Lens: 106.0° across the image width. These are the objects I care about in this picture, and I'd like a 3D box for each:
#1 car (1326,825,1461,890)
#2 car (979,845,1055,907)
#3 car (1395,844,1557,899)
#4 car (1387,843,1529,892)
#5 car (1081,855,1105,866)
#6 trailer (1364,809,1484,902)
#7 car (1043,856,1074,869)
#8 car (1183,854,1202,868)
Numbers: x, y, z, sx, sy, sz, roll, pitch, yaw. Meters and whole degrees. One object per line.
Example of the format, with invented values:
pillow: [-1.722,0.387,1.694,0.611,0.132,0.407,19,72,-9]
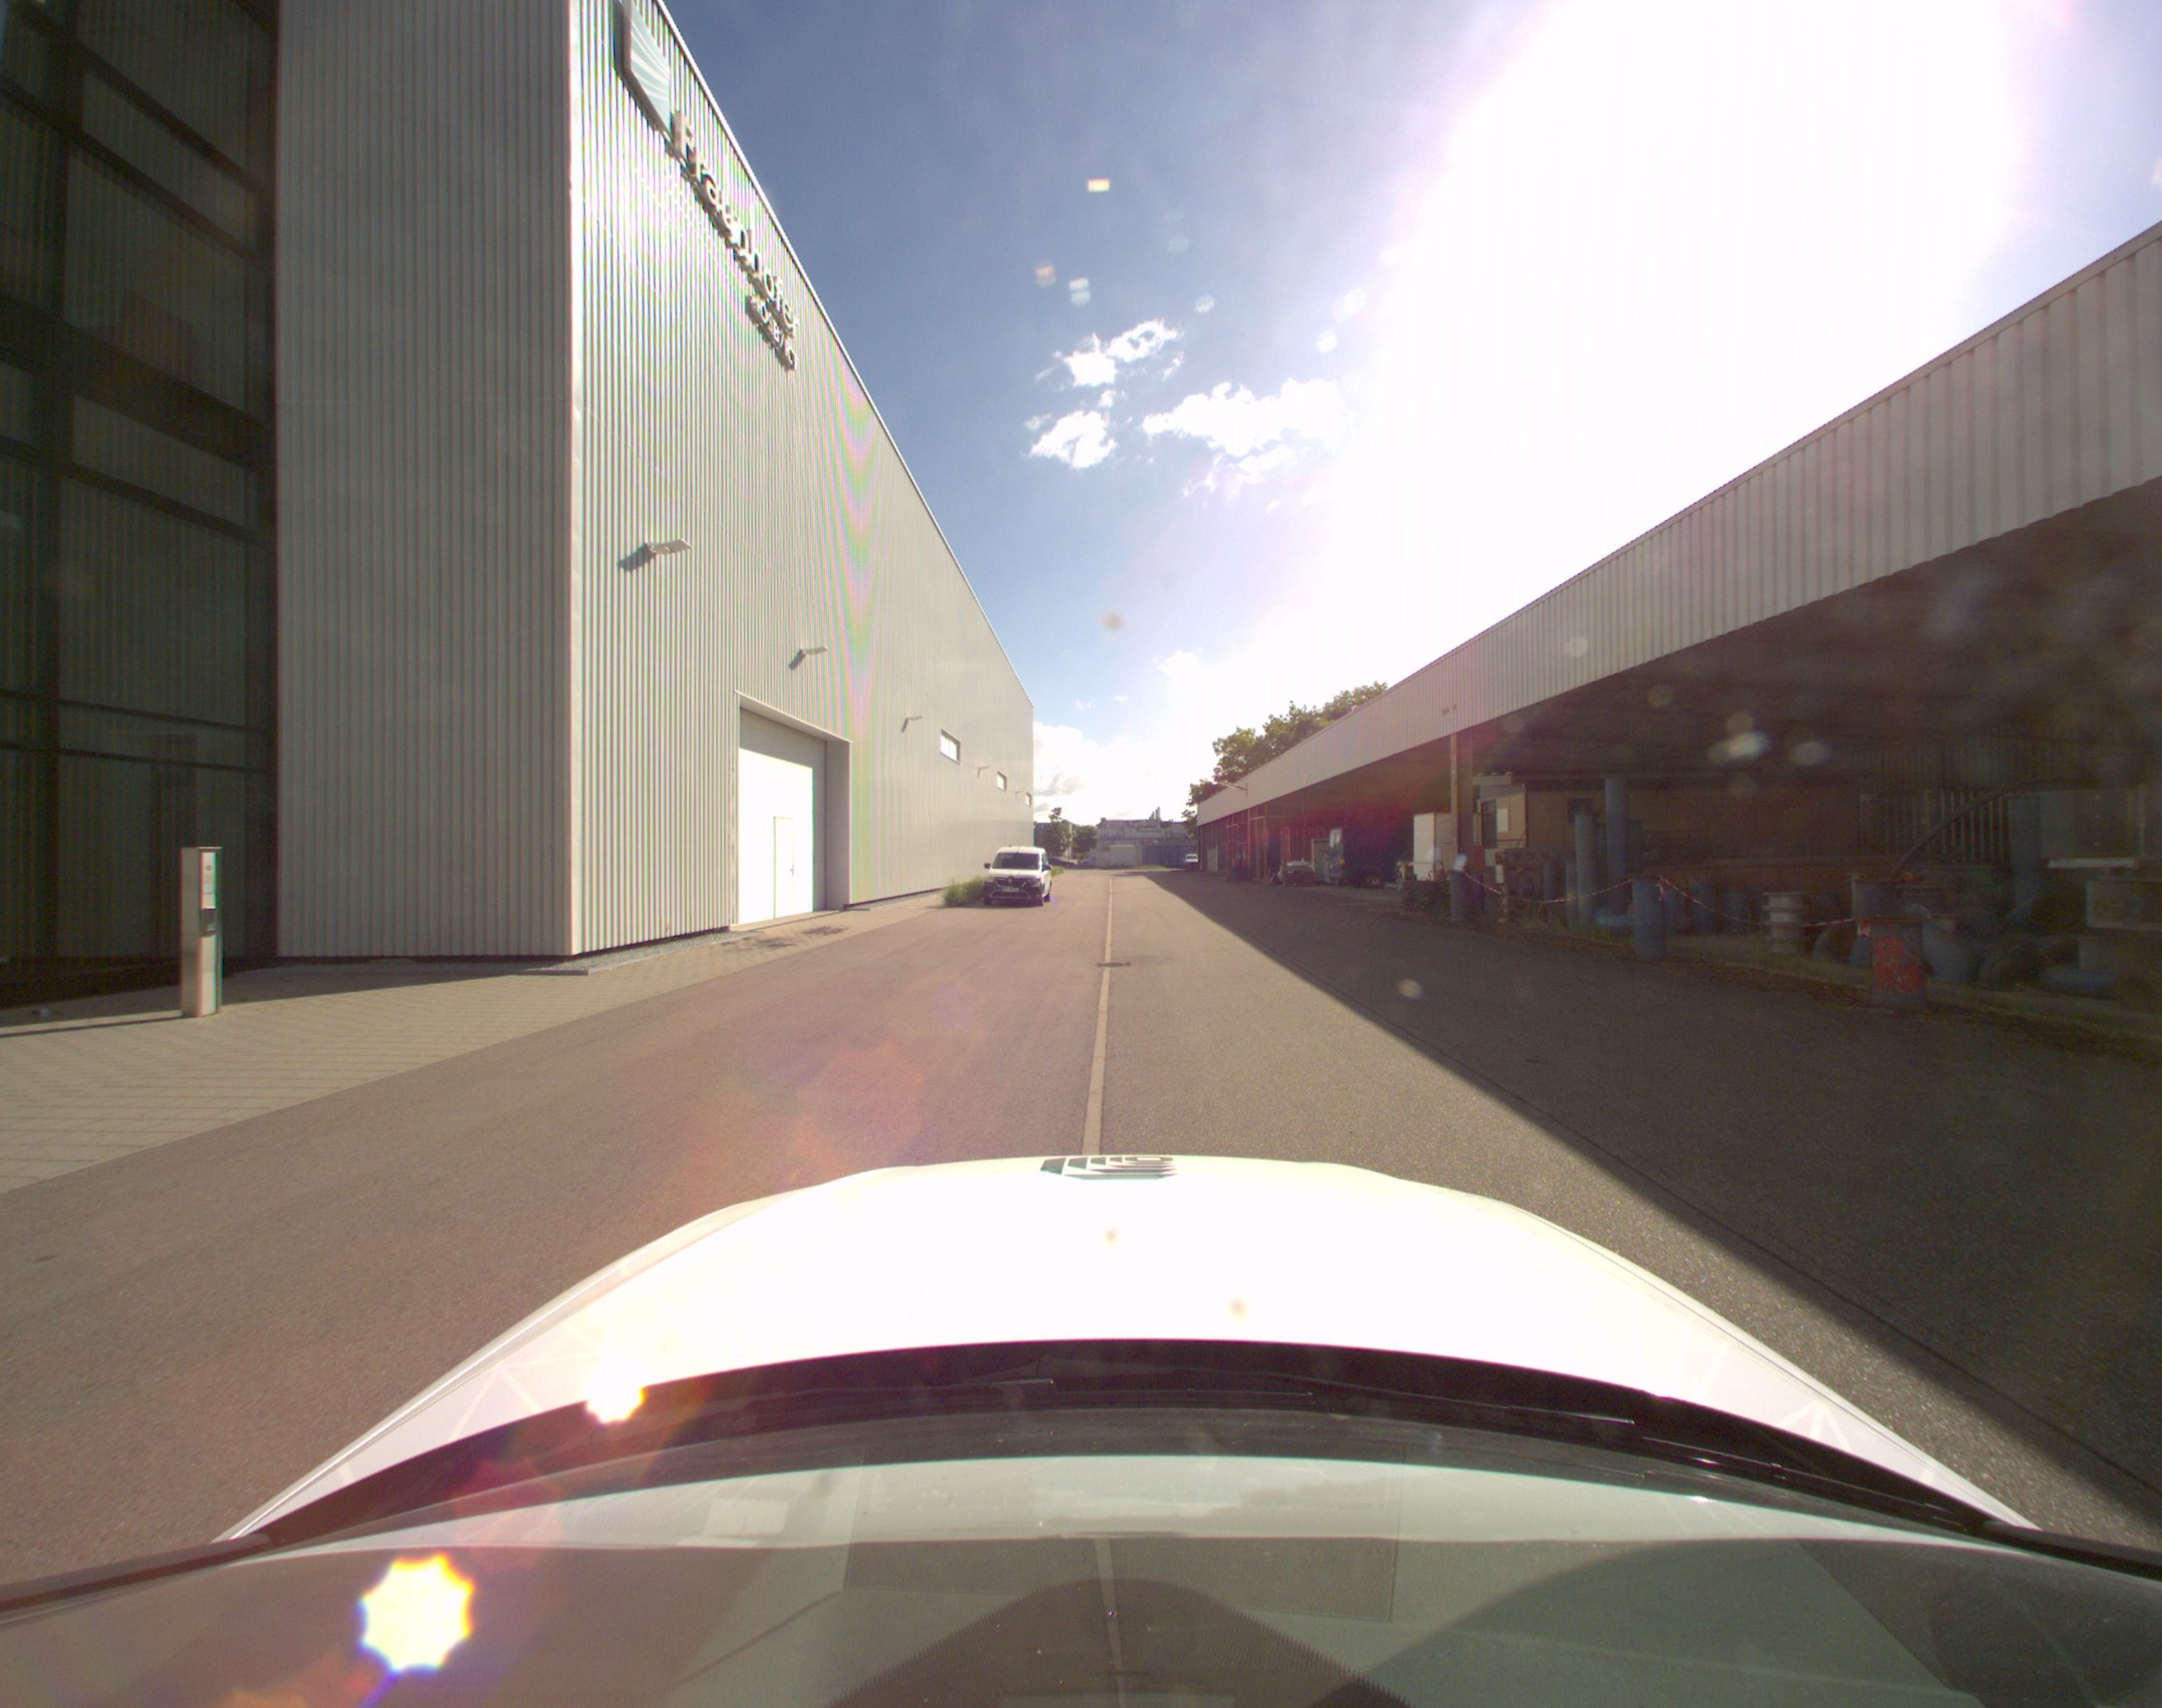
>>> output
car: [11.693,0.162,30.691,4.414,2.310,1.916,1,-2,3]
car: [-1.914,0.626,25.738,1.811,1.787,4.408,1,0,3]
car: [11.623,0.527,24.163,4.021,1.525,1.685,1,-2,3]
car: [12.679,0.473,27.561,4.021,1.525,1.685,1,-2,3]
car: [1.952,1.091,135.823,3.973,1.598,1.848,1,-2,1]
trailer: [9.178,0.057,21.968,2.513,2.399,1.728,-1,-1,3]
car: [-2.958,1.122,108.055,3.973,1.598,1.741,1,-2,1]
car: [12.984,0.833,95.181,1.953,1.564,4.063,1,0,4]
